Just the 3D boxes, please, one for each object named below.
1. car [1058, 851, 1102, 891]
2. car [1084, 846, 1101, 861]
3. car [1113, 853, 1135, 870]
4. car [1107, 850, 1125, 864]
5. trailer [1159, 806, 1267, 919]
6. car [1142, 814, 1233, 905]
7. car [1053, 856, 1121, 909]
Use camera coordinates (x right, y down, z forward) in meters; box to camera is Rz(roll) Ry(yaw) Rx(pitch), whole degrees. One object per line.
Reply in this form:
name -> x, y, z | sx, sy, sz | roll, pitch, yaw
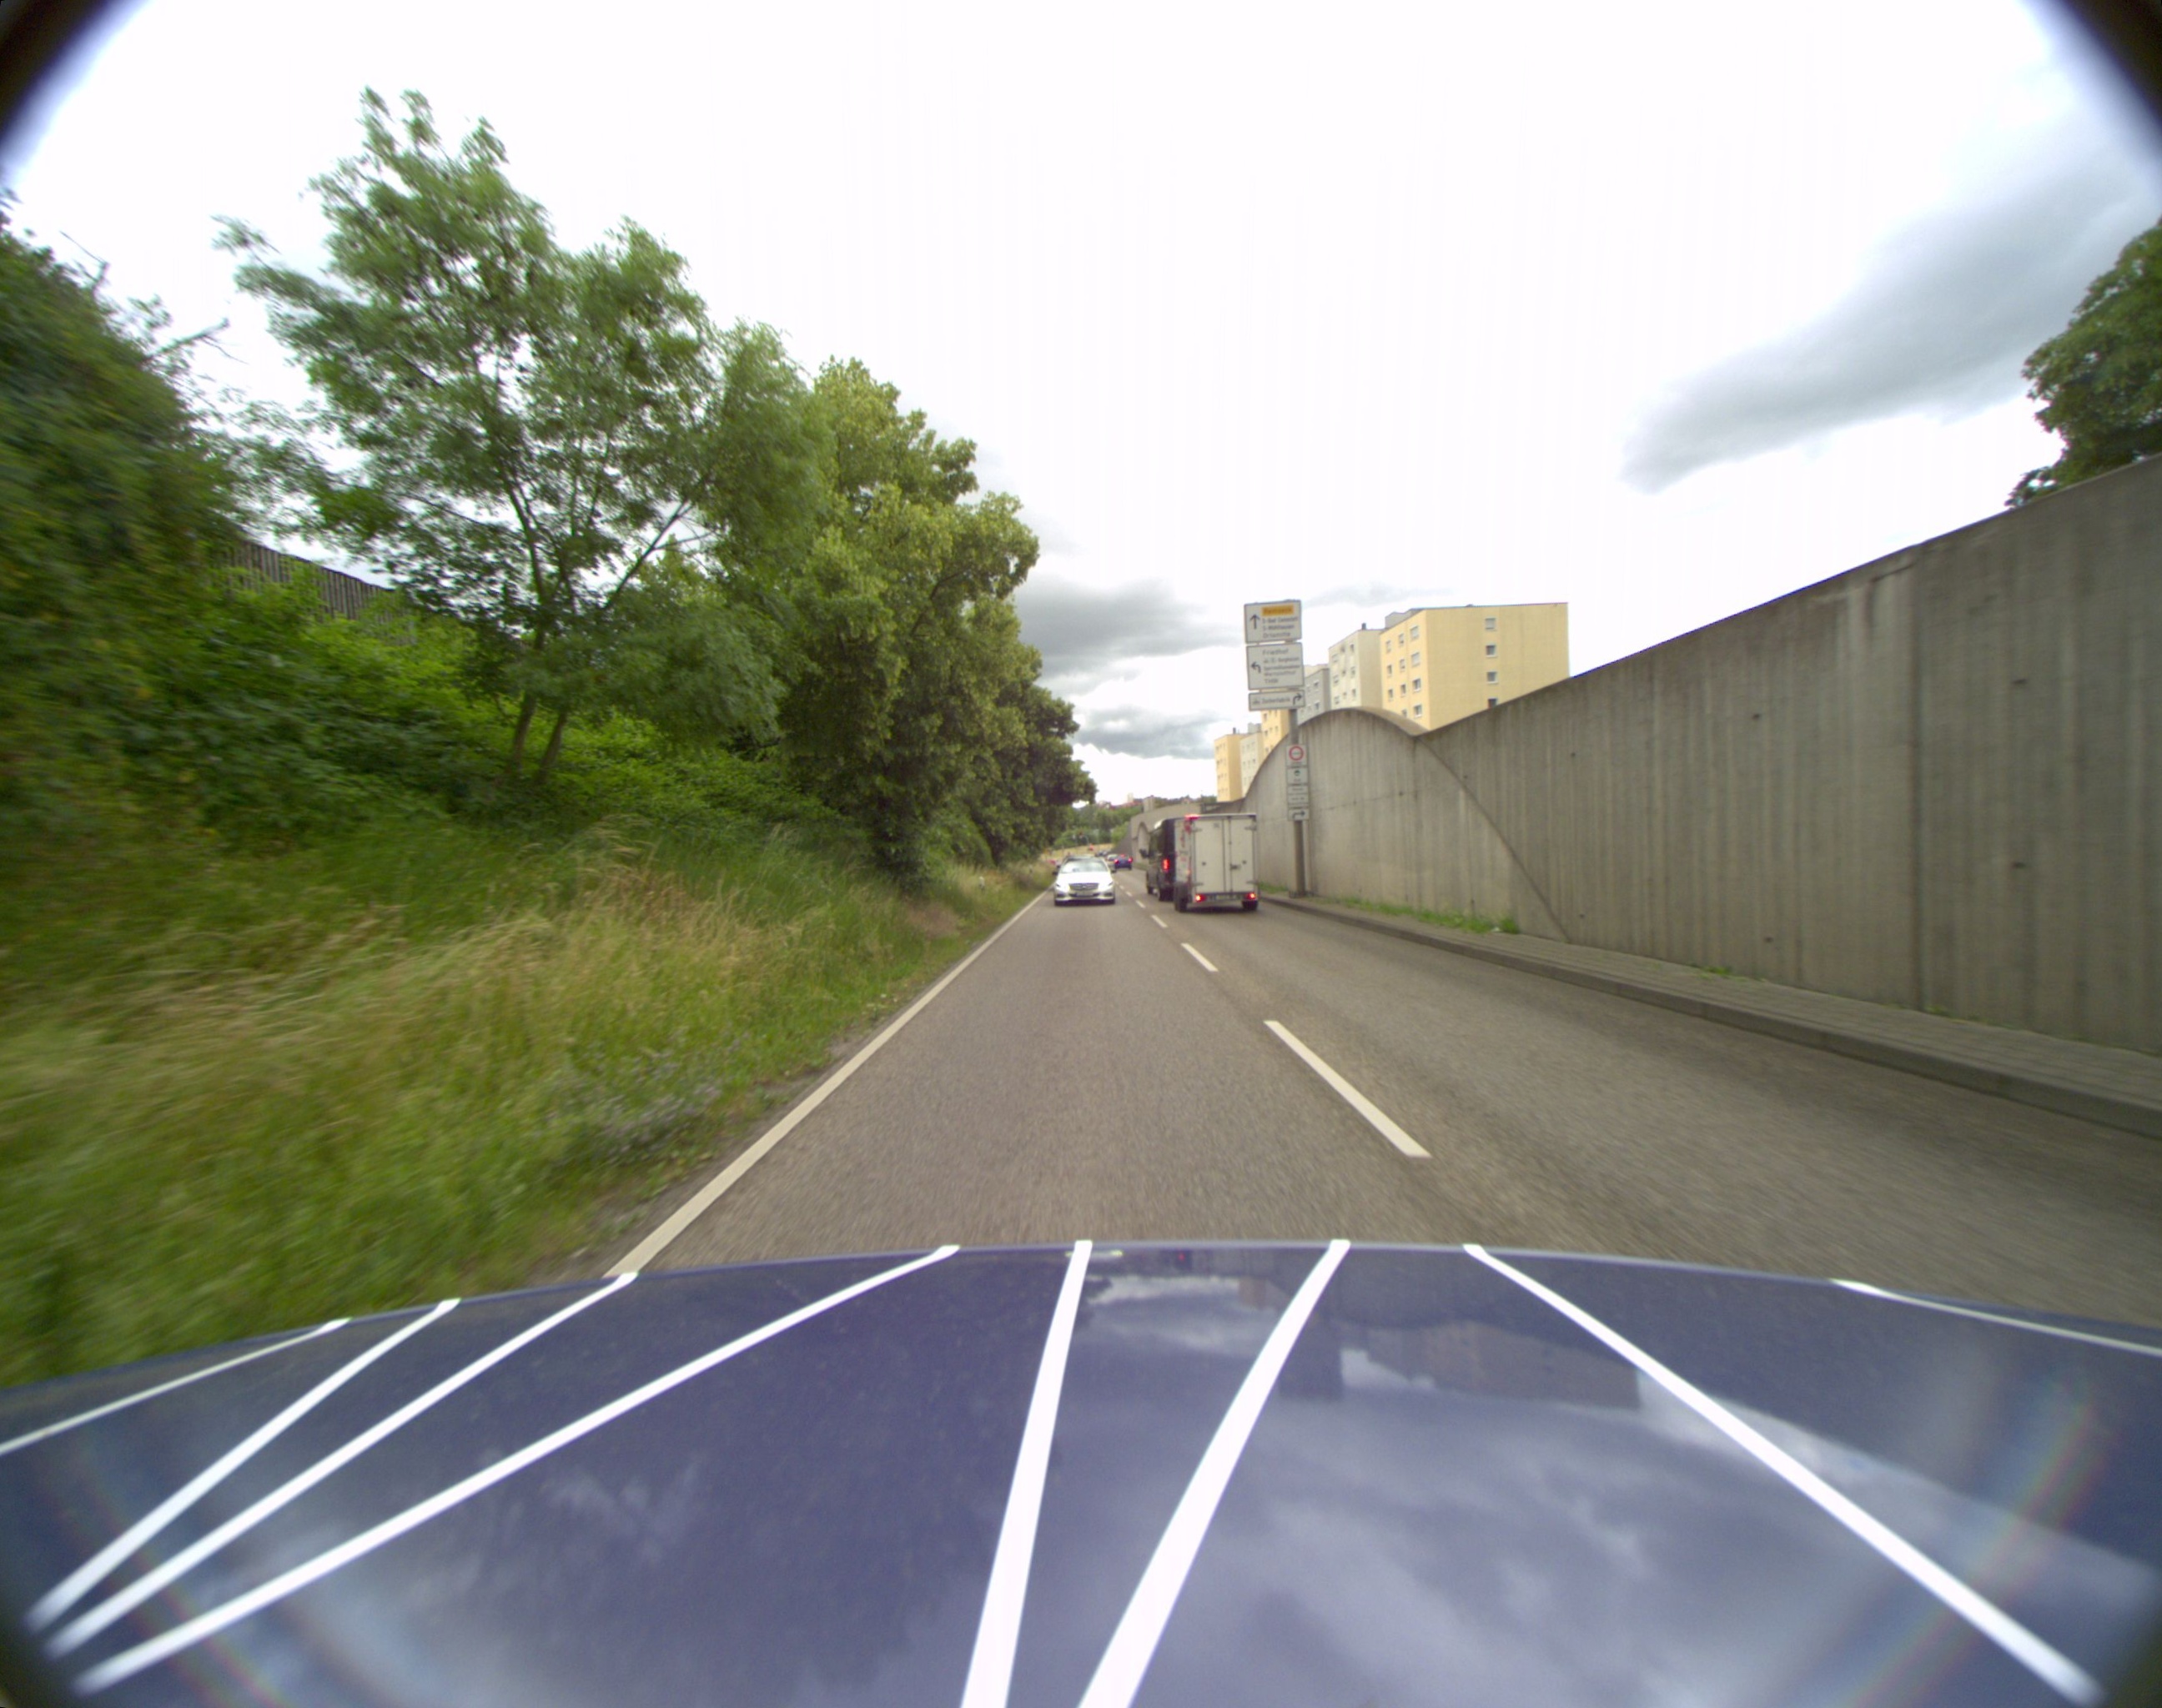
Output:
car -> -0.101, 0.744, 35.575 | 1.759, 1.532, 3.998 | -5, 2, -2
car -> 1.367, -0.065, 92.312 | 1.895, 1.623, 4.424 | -3, 2, 0
car -> 4.080, 0.685, 72.676 | 1.772, 1.487, 4.208 | -3, 0, 0
car -> 3.930, 0.344, 85.247 | 1.920, 1.487, 4.208 | -3, 0, 2
trailer -> 3.363, 0.190, 20.237 | 2.115, 2.615, 4.371 | -2, 0, 1
car -> 3.433, 0.137, 26.120 | 2.115, 2.615, 7.417 | -2, 0, 1
car -> 0.100, 0.842, 24.447 | 1.905, 1.471, 4.093 | -2, 0, -3
